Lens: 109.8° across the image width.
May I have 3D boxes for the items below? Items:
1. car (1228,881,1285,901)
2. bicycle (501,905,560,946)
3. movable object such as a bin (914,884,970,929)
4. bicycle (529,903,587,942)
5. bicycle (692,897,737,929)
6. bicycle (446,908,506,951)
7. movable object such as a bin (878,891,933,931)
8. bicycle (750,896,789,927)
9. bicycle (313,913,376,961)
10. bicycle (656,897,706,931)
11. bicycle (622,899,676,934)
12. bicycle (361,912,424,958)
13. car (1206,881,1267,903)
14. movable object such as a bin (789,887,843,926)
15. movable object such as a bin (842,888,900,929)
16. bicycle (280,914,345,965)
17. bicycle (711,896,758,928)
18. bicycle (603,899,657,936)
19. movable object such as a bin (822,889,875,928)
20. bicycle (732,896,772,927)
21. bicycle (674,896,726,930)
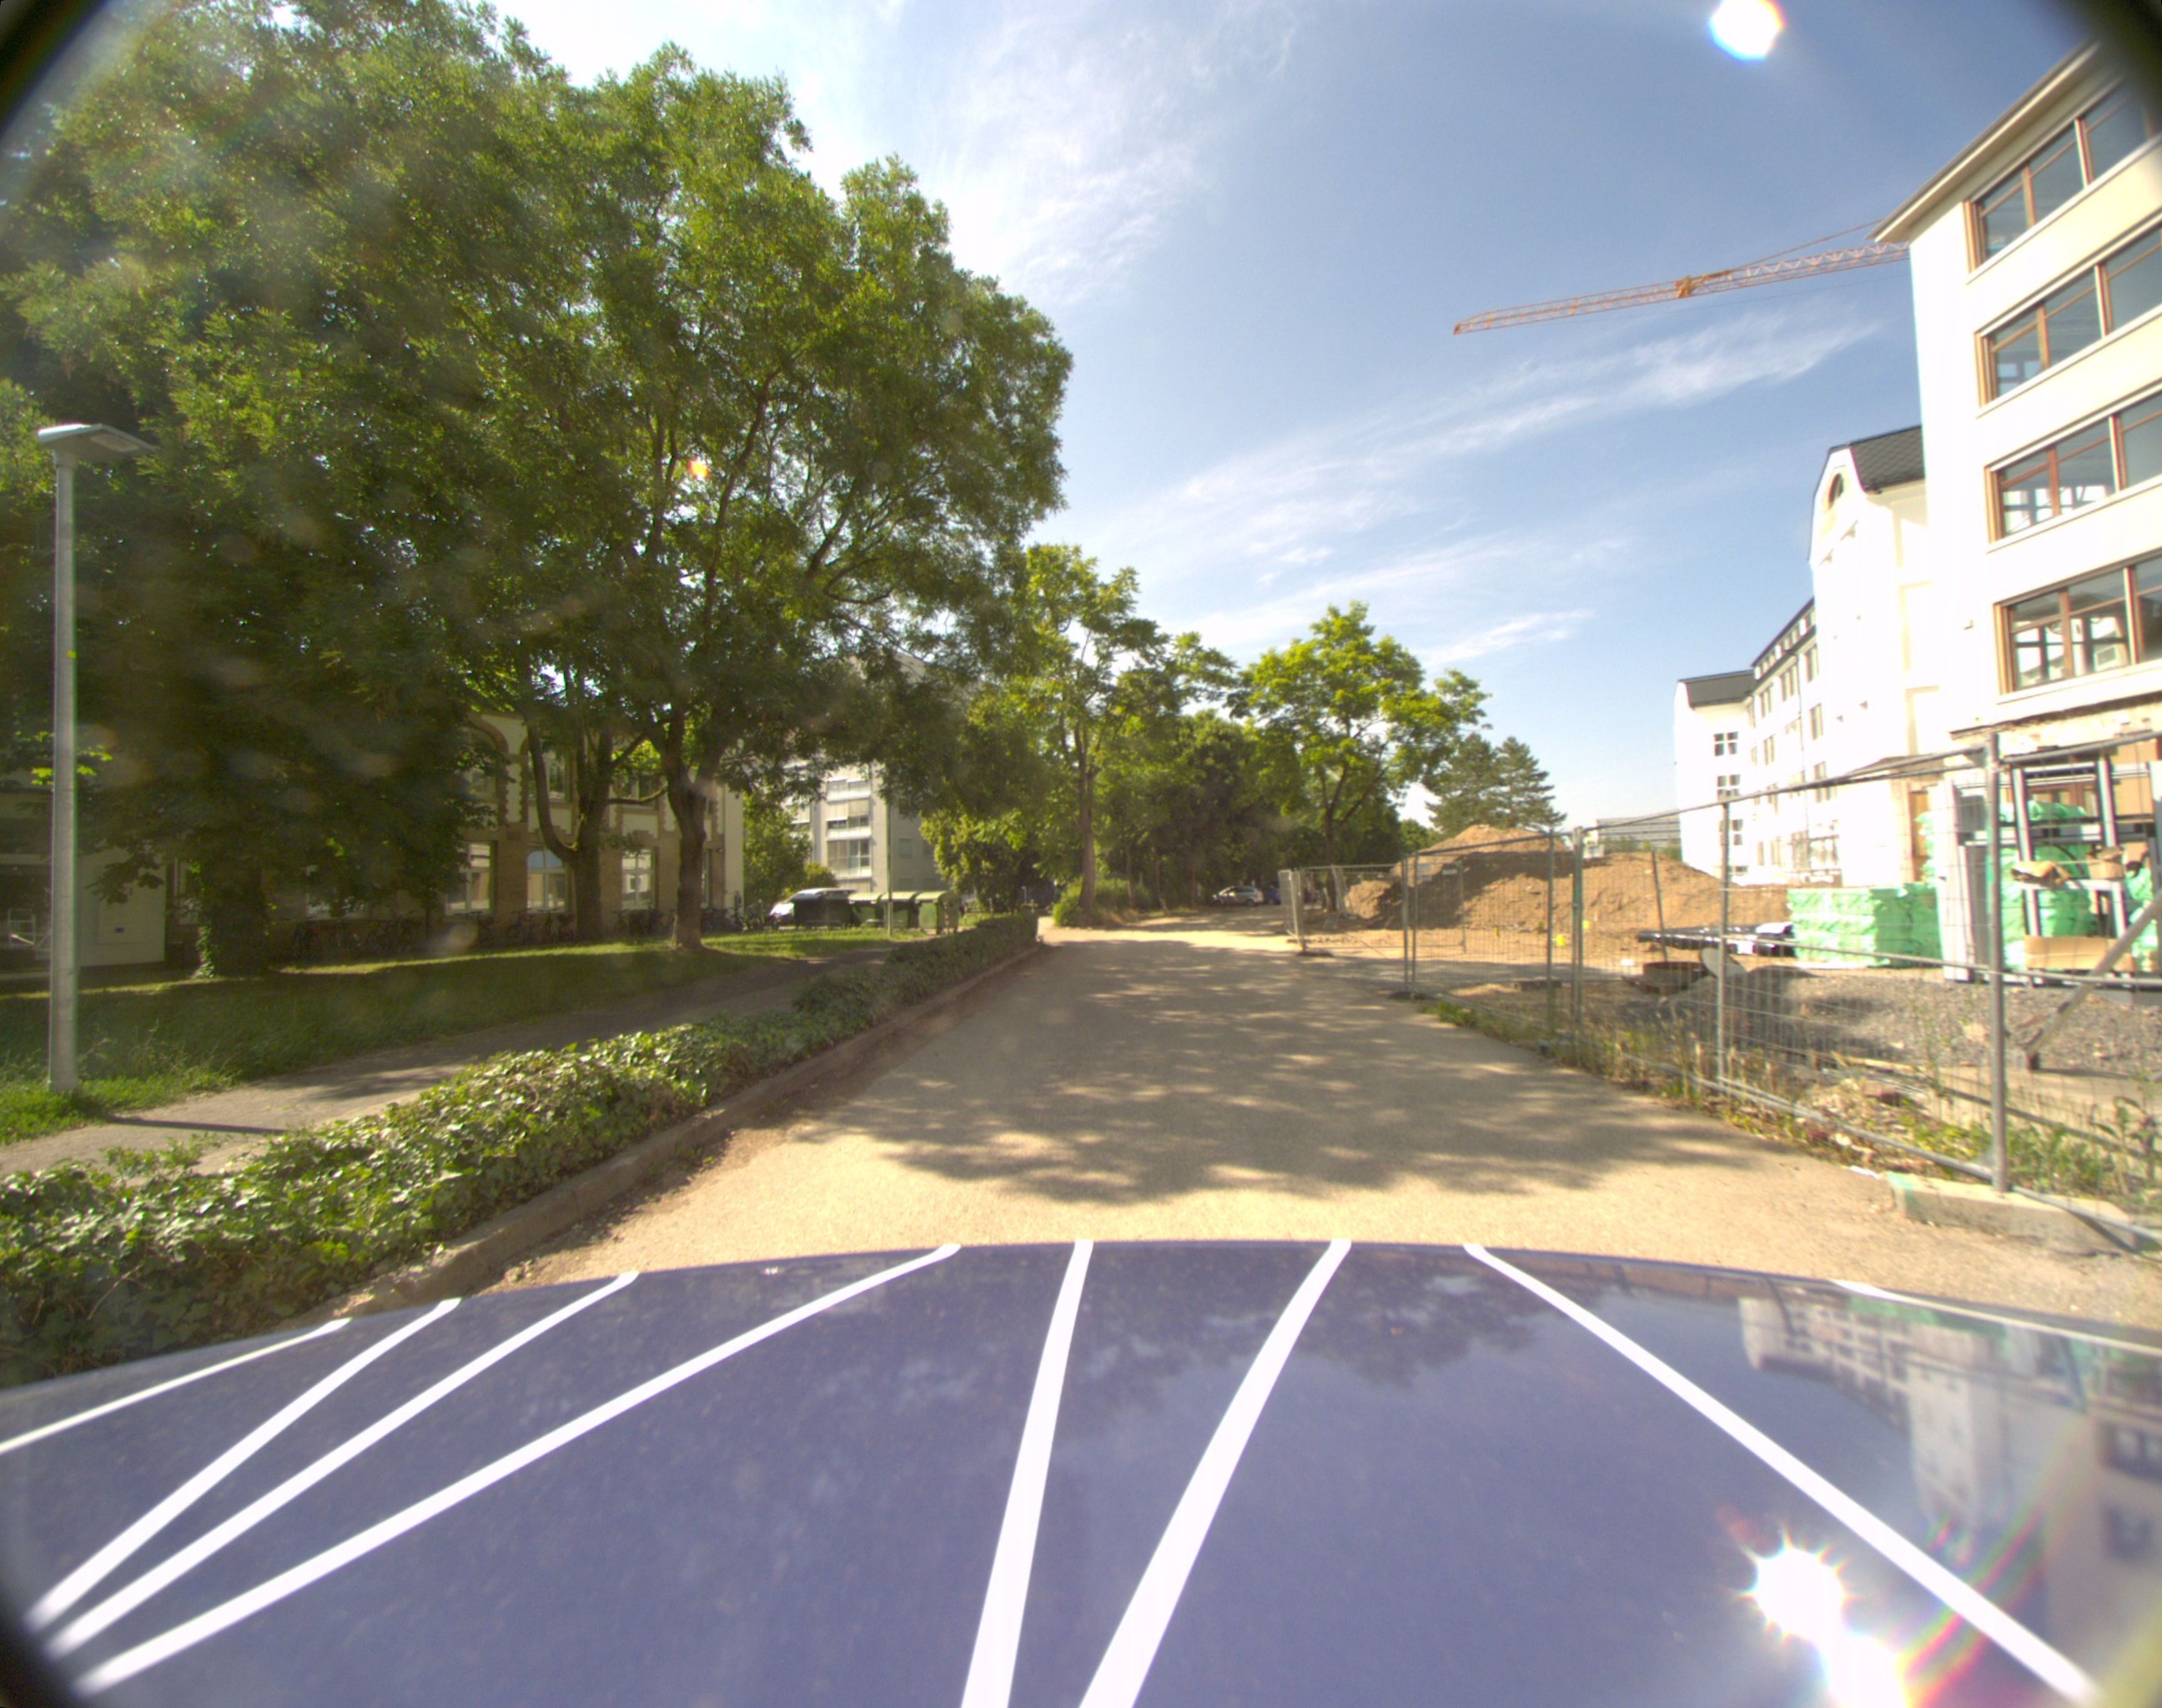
[{"bbox_3d":[13.905,2.944,60.182,3.990,1.433,2.004,-2,-2,24],"label":"car"},{"bbox_3d":[-16.580,2.139,22.860,2.097,1.154,0.589,-3,-2,29],"label":"bicycle"},{"bbox_3d":[-4.675,1.751,25.544,1.389,1.453,1.218,-3,-2,41],"label":"movable object such as a bin"},{"bbox_3d":[-16.230,2.119,23.555,2.097,1.154,0.589,-3,-2,29],"label":"bicycle"},{"bbox_3d":[-13.534,2.176,28.041,1.909,1.154,0.495,-3,-2,29],"label":"bicycle"},{"bbox_3d":[-17.285,2.129,21.690,2.097,1.154,0.589,-3,-2,29],"label":"bicycle"},{"bbox_3d":[-6.020,1.945,26.130,1.352,1.292,1.218,-2,-2,26],"label":"movable object such as a bin"},{"bbox_3d":[-12.193,2.225,29.702,1.940,1.154,0.558,-3,-2,39],"label":"bicycle"},{"bbox_3d":[-18.772,2.095,19.354,2.097,1.154,0.589,-3,-2,29],"label":"bicycle"},{"bbox_3d":[-14.142,2.122,26.863,1.917,1.154,0.589,-3,-2,29],"label":"bicycle"},{"bbox_3d":[-14.775,2.126,25.961,2.097,1.154,0.589,-3,-2,29],"label":"bicycle"},{"bbox_3d":[-18.257,2.122,20.136,2.097,1.154,0.589,-3,-2,29],"label":"bicycle"},{"bbox_3d":[11.363,2.776,55.423,3.990,1.498,2.004,-2,-2,24],"label":"car"},{"bbox_3d":[-9.945,1.976,28.532,1.432,1.401,1.252,-2,-2,25],"label":"movable object such as a bin"},{"bbox_3d":[-7.394,1.916,26.791,1.498,1.353,1.218,-2,-2,26],"label":"movable object such as a bin"},{"bbox_3d":[-18.971,2.086,18.750,2.097,1.154,0.589,-3,-2,29],"label":"bicycle"},{"bbox_3d":[-13.154,2.213,28.818,1.846,1.154,0.615,-3,-2,29],"label":"bicycle"},{"bbox_3d":[-15.056,2.118,25.349,2.097,1.154,0.589,-3,-2,29],"label":"bicycle"},{"bbox_3d":[-8.526,1.982,27.858,1.349,1.341,1.218,-2,-2,26],"label":"movable object such as a bin"},{"bbox_3d":[-12.701,2.219,29.307,1.800,1.154,0.508,-3,-2,34],"label":"bicycle"},{"bbox_3d":[-13.835,2.135,27.551,2.097,1.154,0.589,-3,-2,29],"label":"bicycle"}]
